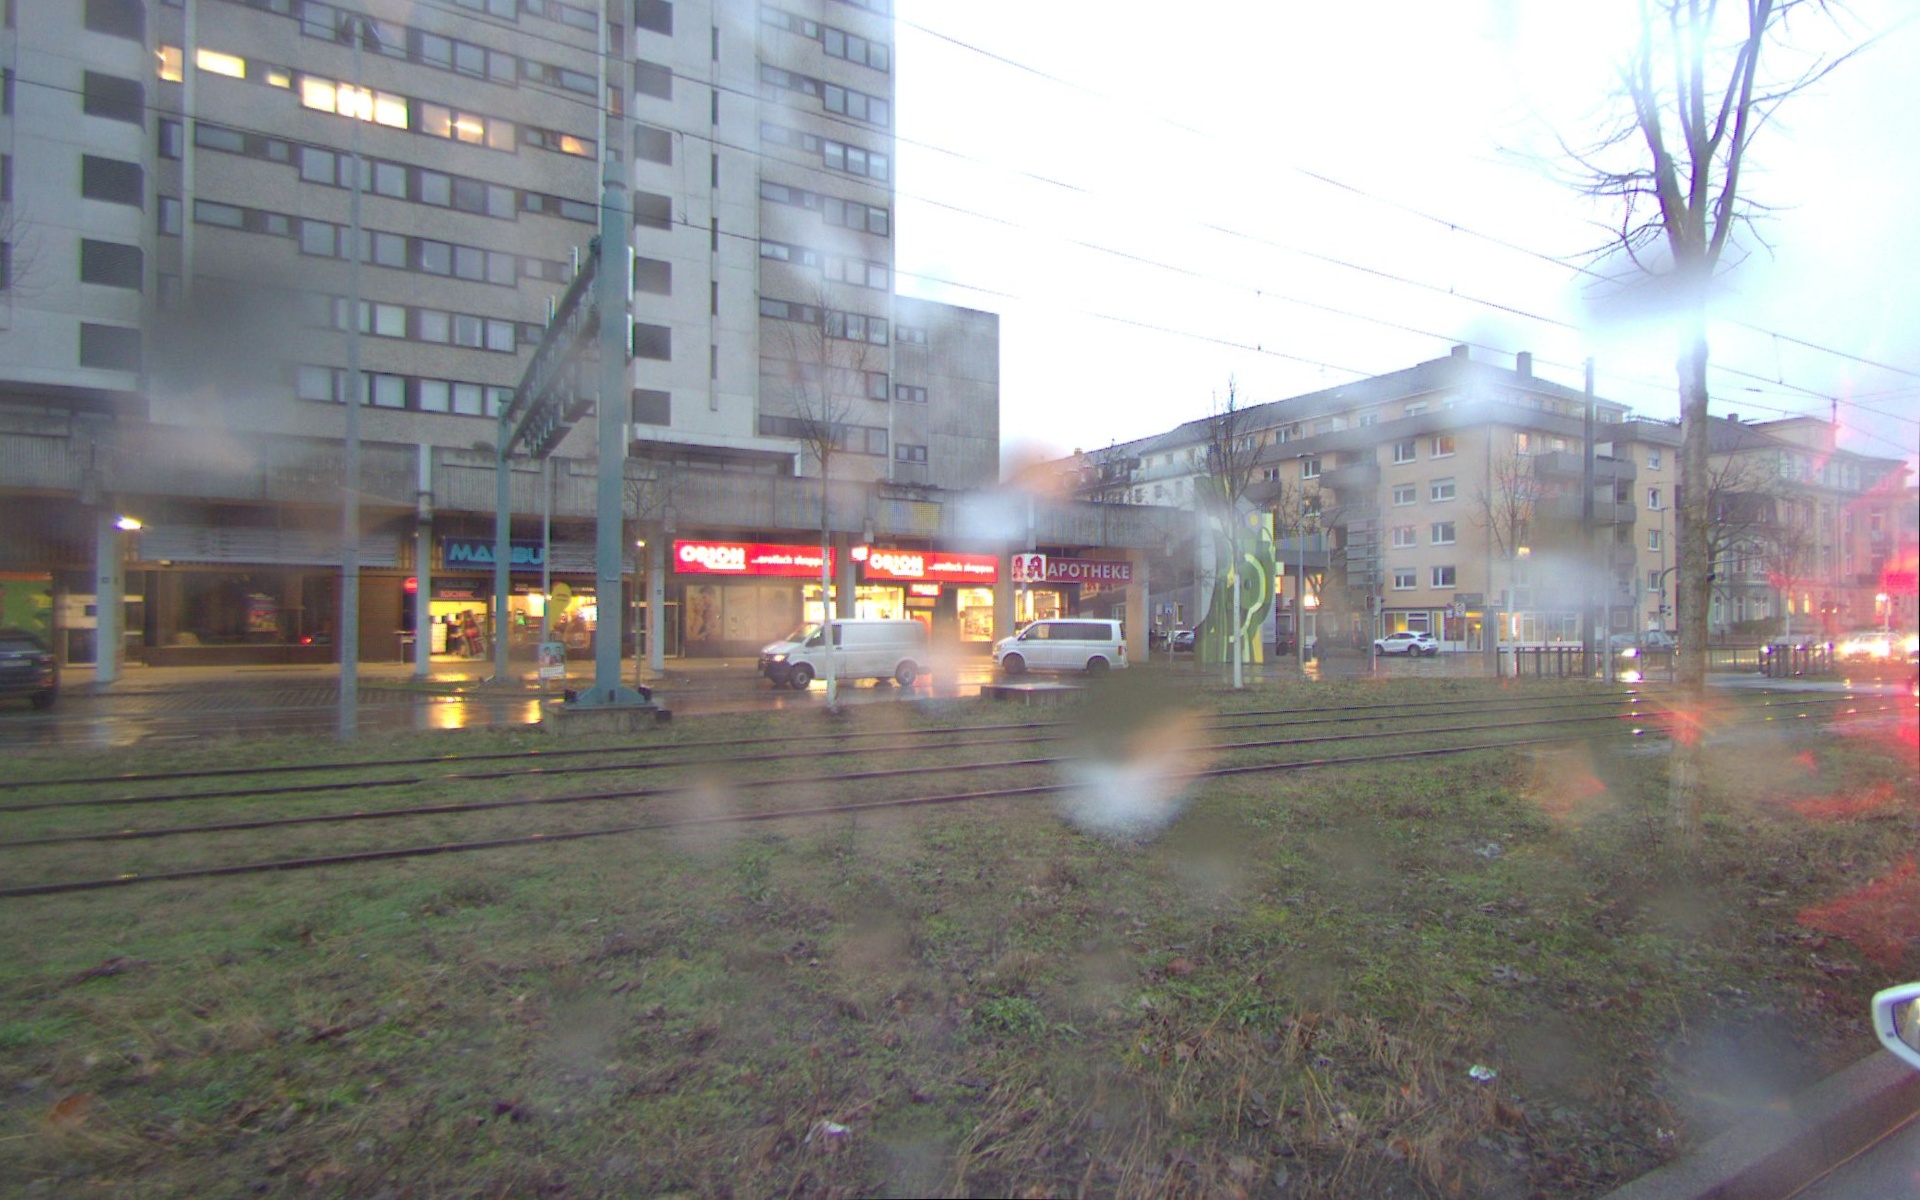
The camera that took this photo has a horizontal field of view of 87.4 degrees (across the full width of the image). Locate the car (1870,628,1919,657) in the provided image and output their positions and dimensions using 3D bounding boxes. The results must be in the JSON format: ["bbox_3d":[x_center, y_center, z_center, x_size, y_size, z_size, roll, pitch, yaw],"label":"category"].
[{"bbox_3d":[58.259,2.611,62.030,3.952,1.623,1.941,1,0,-30],"label":"car"}]

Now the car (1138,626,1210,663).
[{"bbox_3d":[12.407,2.574,58.177,3.829,2.040,1.884,1,0,-31],"label":"car"}]

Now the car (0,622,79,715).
[{"bbox_3d":[-20.765,1.392,21.197,4.067,1.715,1.982,2,0,28],"label":"car"}]

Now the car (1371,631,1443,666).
[{"bbox_3d":[27.852,3.010,62.656,1.825,1.968,3.720,1,0,-37],"label":"car"}]

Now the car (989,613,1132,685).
[{"bbox_3d":[3.574,1.683,35.424,4.734,2.274,2.001,2,0,15],"label":"car"}]

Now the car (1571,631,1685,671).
[{"bbox_3d":[25.030,1.892,37.602,4.265,1.350,1.850,1,0,-30],"label":"car"}]

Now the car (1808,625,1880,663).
[{"bbox_3d":[51.483,2.539,58.503,3.953,2.040,1.984,1,0,-31],"label":"car"}]

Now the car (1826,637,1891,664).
[{"bbox_3d":[45.913,2.540,51.314,4.108,1.294,1.679,1,-1,-36],"label":"car"}]

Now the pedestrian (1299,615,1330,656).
[{"bbox_3d":[17.811,1.789,50.478,1.253,2.040,1.004,-1,-1,37],"label":"pedestrian"}]

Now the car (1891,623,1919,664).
[{"bbox_3d":[40.893,1.844,41.881,3.954,1.623,1.983,1,0,-31],"label":"car"}]

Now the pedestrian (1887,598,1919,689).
[{"bbox_3d":[21.990,0.978,22.848,0.987,2.040,0.962,0,-1,17],"label":"pedestrian"}]

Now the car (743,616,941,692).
[{"bbox_3d":[-3.493,1.574,29.983,5.490,2.073,1.987,1,0,-26],"label":"car"}]

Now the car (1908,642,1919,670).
[{"bbox_3d":[55.919,3.197,57.163,3.953,1.598,1.858,1,-1,-30],"label":"car"}]
